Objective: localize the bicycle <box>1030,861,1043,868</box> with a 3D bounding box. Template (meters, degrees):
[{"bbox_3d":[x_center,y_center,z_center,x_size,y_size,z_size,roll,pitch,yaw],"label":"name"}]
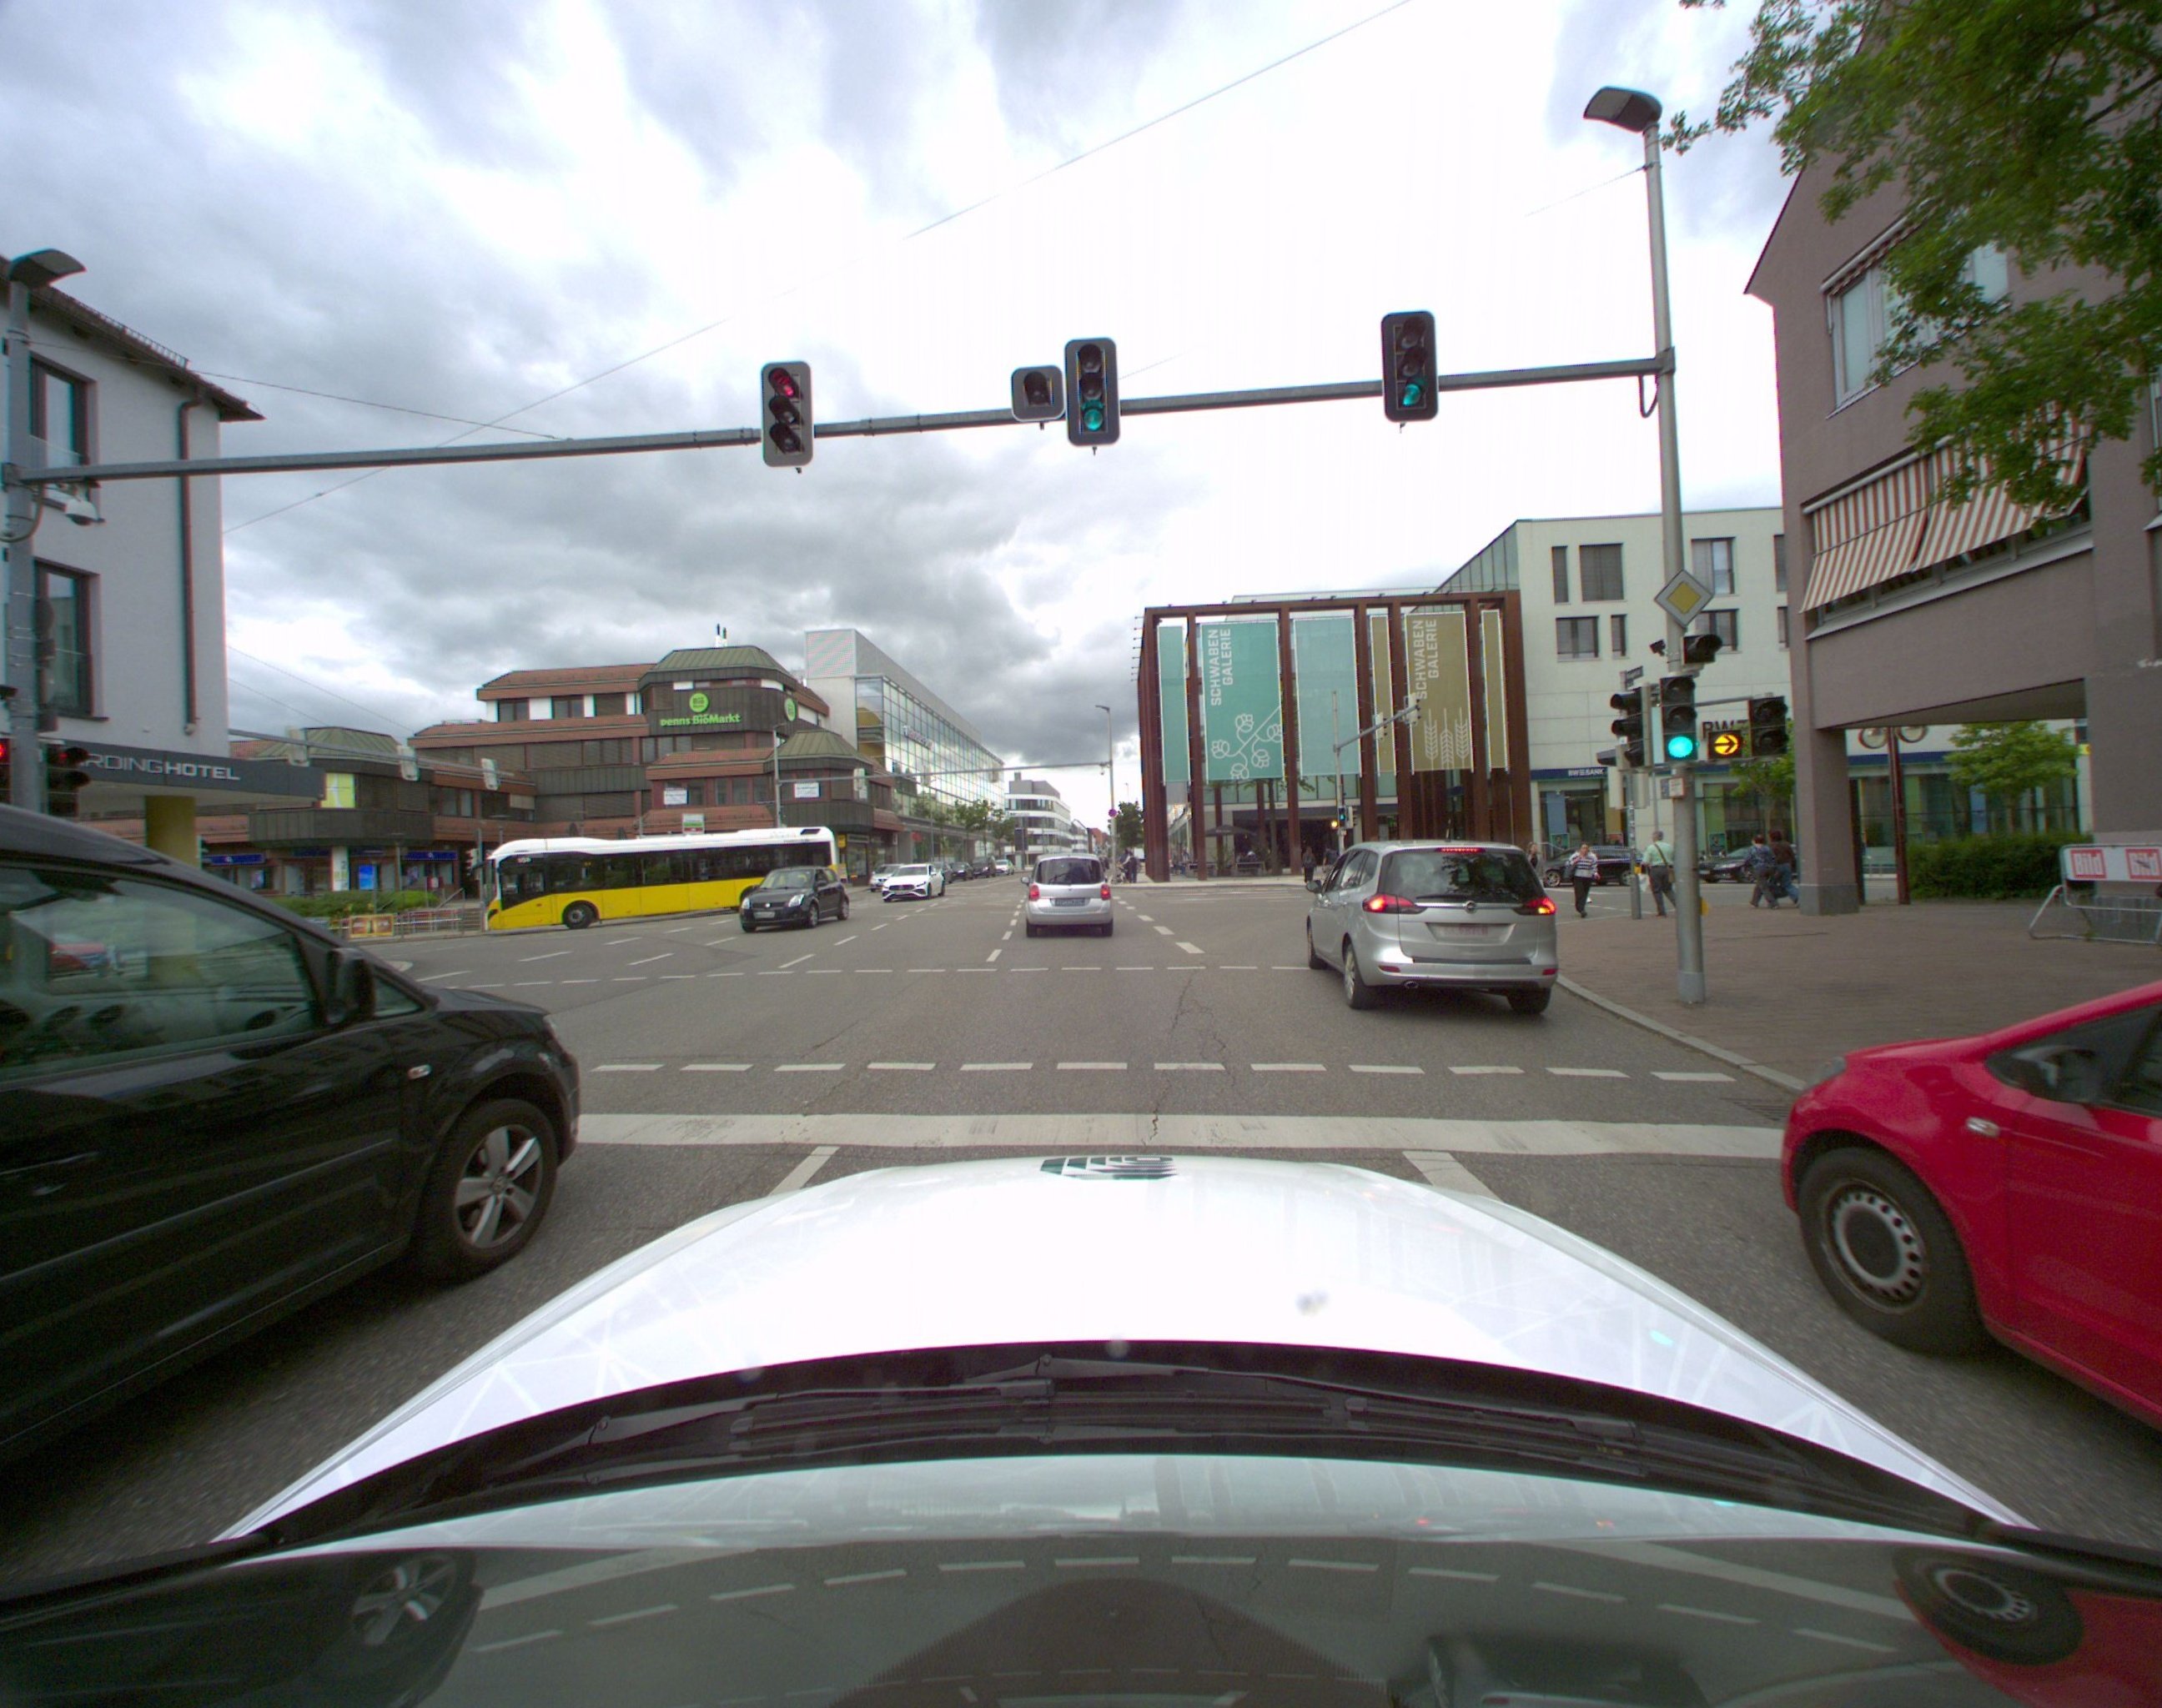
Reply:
[{"bbox_3d":[-6.658,1.538,121.309,1.010,1.018,3.105,0,-1,-24],"label":"bicycle"}]

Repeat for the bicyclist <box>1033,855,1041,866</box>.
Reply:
[{"bbox_3d":[-6.539,1.019,121.044,1.011,1.660,0.925,0,-1,-24],"label":"bicyclist"}]

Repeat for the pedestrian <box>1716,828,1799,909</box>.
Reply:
[{"bbox_3d":[13.698,0.282,16.516,0.827,1.558,0.969,-2,0,-1],"label":"pedestrian"}]

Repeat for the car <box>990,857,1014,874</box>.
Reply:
[{"bbox_3d":[-7.543,1.120,78.237,1.653,1.465,4.004,-3,0,4],"label":"car"}]

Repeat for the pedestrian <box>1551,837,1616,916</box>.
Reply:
[{"bbox_3d":[10.855,0.469,17.622,0.739,1.626,0.953,-2,0,0],"label":"pedestrian"}]

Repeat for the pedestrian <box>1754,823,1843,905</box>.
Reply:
[{"bbox_3d":[14.560,0.199,16.567,0.827,1.584,1.058,-2,0,-2],"label":"pedestrian"}]

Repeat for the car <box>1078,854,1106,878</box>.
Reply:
[{"bbox_3d":[0.775,0.815,55.626,1.662,1.554,3.646,0,0,4],"label":"car"}]

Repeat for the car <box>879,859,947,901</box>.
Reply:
[{"bbox_3d":[-6.697,0.998,32.894,1.738,1.459,4.236,-3,0,1],"label":"car"}]

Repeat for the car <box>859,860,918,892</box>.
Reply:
[{"bbox_3d":[-10.280,1.142,43.871,1.626,1.418,4.208,-4,1,7],"label":"car"}]

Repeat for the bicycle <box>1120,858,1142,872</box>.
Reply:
[{"bbox_3d":[3.761,0.832,61.318,1.552,0.992,0.754,-2,0,6],"label":"bicycle"}]

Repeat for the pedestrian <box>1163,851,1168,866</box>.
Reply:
[{"bbox_3d":[8.392,0.447,80.654,0.425,1.549,0.482,-2,0,1],"label":"pedestrian"}]

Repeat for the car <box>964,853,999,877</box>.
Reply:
[{"bbox_3d":[-8.525,0.887,70.201,1.857,1.909,5.119,-3,0,4],"label":"car"}]

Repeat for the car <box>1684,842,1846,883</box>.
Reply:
[{"bbox_3d":[25.394,0.297,30.329,4.519,1.404,1.801,-1,0,0],"label":"car"}]

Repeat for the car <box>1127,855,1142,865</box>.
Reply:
[{"bbox_3d":[6.946,0.777,105.538,1.869,1.335,4.004,0,0,4],"label":"car"}]

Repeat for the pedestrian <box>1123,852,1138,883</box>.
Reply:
[{"bbox_3d":[2.354,0.642,38.683,0.598,1.420,0.583,-2,0,5],"label":"pedestrian"}]

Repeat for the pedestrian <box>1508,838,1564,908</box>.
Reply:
[{"bbox_3d":[10.923,0.446,19.569,0.739,1.626,0.953,-2,0,0],"label":"pedestrian"}]

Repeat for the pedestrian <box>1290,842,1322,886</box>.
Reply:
[{"bbox_3d":[8.904,0.387,32.258,0.875,1.681,1.120,-2,0,0],"label":"pedestrian"}]

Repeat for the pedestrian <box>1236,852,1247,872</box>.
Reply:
[{"bbox_3d":[10.175,0.503,51.616,0.513,1.208,0.796,-2,1,1],"label":"pedestrian"}]

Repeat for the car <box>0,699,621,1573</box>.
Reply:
[{"bbox_3d":[-3.109,0.589,1.554,1.701,1.820,4.574,0,0,3],"label":"car"}]

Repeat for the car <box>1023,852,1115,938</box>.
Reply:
[{"bbox_3d":[-0.182,0.737,16.602,1.664,1.554,3.643,0,0,1],"label":"car"}]

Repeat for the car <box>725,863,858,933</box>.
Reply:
[{"bbox_3d":[-7.143,1.029,20.509,1.737,1.459,3.821,-3,0,3],"label":"car"}]

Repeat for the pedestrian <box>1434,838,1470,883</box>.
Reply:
[{"bbox_3d":[14.908,0.251,32.764,0.875,1.767,1.120,-2,0,0],"label":"pedestrian"}]

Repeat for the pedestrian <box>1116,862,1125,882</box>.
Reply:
[{"bbox_3d":[1.876,0.869,38.672,0.360,0.924,0.455,-2,0,5],"label":"pedestrian"}]

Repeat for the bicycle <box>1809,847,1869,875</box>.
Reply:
[{"bbox_3d":[32.005,0.289,34.429,0.715,1.102,1.994,-2,0,3],"label":"bicycle"}]

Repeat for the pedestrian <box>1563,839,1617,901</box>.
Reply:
[{"bbox_3d":[13.556,0.424,21.734,0.817,1.595,1.041,-2,0,7],"label":"pedestrian"}]

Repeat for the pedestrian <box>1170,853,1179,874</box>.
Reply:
[{"bbox_3d":[5.483,0.553,47.743,0.445,1.220,0.607,-2,0,6],"label":"pedestrian"}]

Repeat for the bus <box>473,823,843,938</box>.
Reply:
[{"bbox_3d":[-15.972,0.796,31.877,12.366,3.327,2.963,-4,0,-38],"label":"bus"}]

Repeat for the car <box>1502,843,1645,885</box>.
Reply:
[{"bbox_3d":[18.007,0.363,29.887,4.158,1.404,1.801,-1,0,0],"label":"car"}]

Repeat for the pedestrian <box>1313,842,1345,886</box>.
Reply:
[{"bbox_3d":[9.845,0.395,32.374,0.875,1.681,1.120,-2,0,0],"label":"pedestrian"}]

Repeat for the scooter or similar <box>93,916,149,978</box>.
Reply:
[{"bbox_3d":[-19.330,1.854,16.415,0.428,1.159,1.556,-2,-3,-38],"label":"scooter or similar"}]

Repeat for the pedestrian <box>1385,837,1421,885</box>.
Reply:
[{"bbox_3d":[12.368,0.267,31.312,0.875,1.767,1.120,-2,0,0],"label":"pedestrian"}]

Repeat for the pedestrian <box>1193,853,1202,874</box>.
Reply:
[{"bbox_3d":[6.797,0.545,47.607,0.445,1.220,0.608,-2,0,7],"label":"pedestrian"}]

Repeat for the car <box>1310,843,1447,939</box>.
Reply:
[{"bbox_3d":[6.045,0.607,16.169,1.834,1.609,4.891,0,0,29],"label":"car"}]

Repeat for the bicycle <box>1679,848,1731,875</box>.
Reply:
[{"bbox_3d":[26.498,0.319,34.625,0.715,1.102,1.994,-2,0,3],"label":"bicycle"}]

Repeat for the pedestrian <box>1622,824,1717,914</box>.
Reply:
[{"bbox_3d":[11.698,0.289,16.225,1.052,1.715,1.110,-2,0,2],"label":"pedestrian"}]

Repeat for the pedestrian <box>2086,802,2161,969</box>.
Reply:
[{"bbox_3d":[10.874,0.288,7.911,0.805,1.626,1.093,-2,0,1],"label":"pedestrian"}]

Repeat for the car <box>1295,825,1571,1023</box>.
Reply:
[{"bbox_3d":[3.617,0.601,9.262,1.730,1.701,4.389,0,0,7],"label":"car"}]

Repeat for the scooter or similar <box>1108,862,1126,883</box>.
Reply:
[{"bbox_3d":[1.728,0.891,39.114,0.626,0.961,0.625,-2,0,37],"label":"scooter or similar"}]

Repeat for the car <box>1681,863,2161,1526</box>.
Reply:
[{"bbox_3d":[3.188,0.764,1.515,1.619,1.448,3.645,0,0,3],"label":"car"}]

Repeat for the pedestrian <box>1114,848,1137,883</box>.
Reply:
[{"bbox_3d":[2.164,0.565,39.621,0.861,1.646,0.685,-2,0,37],"label":"pedestrian"}]

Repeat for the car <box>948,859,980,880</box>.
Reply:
[{"bbox_3d":[-8.712,1.144,61.094,1.696,1.443,4.001,-2,0,1],"label":"car"}]
